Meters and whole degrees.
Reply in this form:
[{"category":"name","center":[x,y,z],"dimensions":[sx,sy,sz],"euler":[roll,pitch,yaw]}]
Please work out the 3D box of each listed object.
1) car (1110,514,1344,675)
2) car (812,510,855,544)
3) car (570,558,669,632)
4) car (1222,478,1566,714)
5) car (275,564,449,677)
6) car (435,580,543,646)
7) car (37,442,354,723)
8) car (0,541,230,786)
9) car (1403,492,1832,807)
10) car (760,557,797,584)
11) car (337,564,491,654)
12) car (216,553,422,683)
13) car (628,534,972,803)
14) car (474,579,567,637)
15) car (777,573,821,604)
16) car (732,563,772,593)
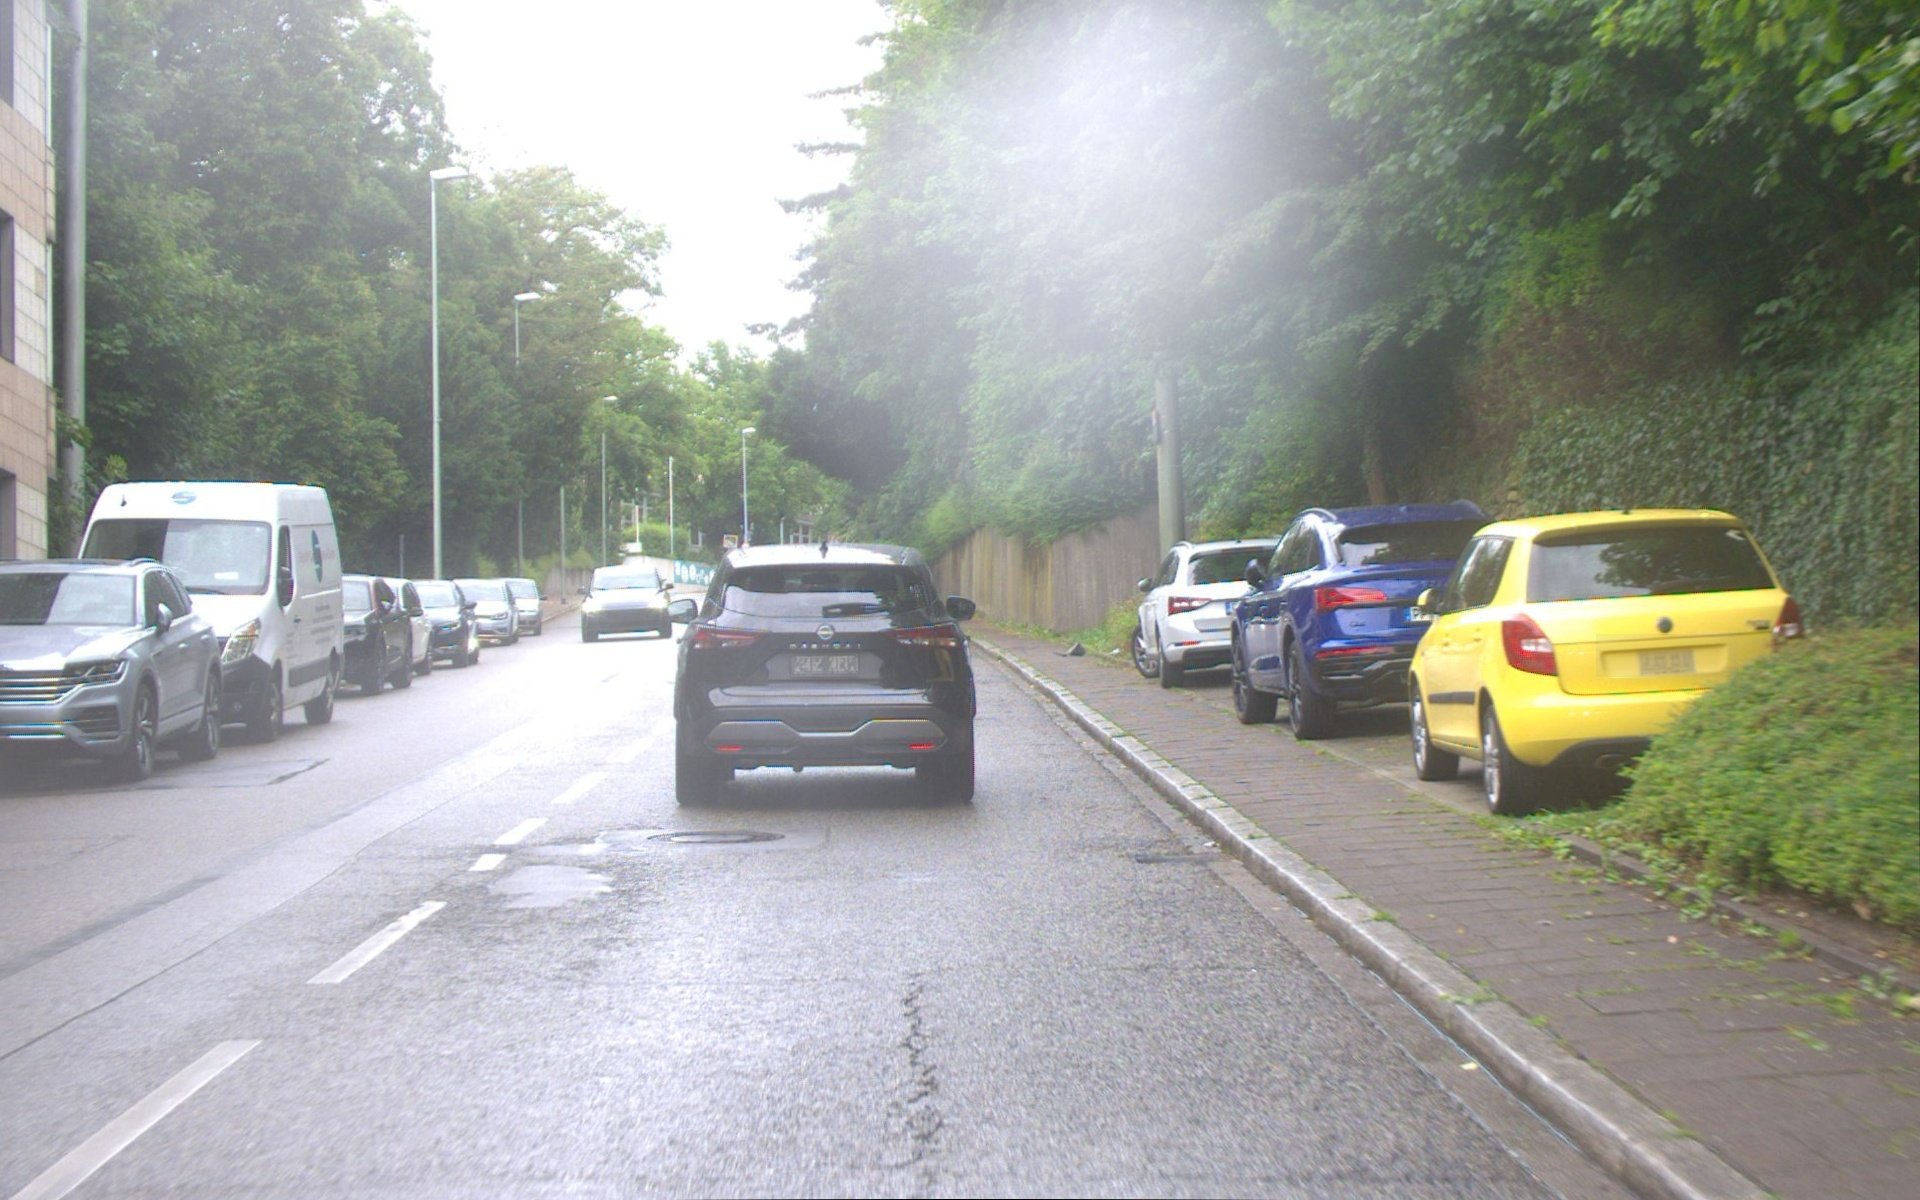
[{"category":"car","center":[2.779,-0.070,36.708],"dimensions":[1.810,1.525,4.418],"euler":[-3,1,-4]},{"category":"car","center":[-6.555,-3.780,178.874],"dimensions":[1.993,1.554,4.000],"euler":[-2,-1,1]},{"category":"car","center":[-7.438,-0.127,75.419],"dimensions":[1.993,1.554,4.001],"euler":[0,1,-3]},{"category":"car","center":[3.150,-0.043,25.808],"dimensions":[1.811,1.525,4.417],"euler":[-3,1,-2]},{"category":"car","center":[-8.963,0.276,51.855],"dimensions":[1.990,1.561,4.458],"euler":[-1,1,-2]},{"category":"car","center":[-10.619,0.273,77.760],"dimensions":[1.990,1.379,4.458],"euler":[-1,1,-2]},{"category":"car","center":[-7.344,-0.198,33.637],"dimensions":[1.990,2.466,5.785],"euler":[-1,1,-2]},{"category":"car","center":[-7.161,0.441,27.135],"dimensions":[1.990,1.749,4.480],"euler":[-1,1,-2]},{"category":"car","center":[3.455,0.221,18.729],"dimensions":[1.633,1.525,4.000],"euler":[0,1,1]},{"category":"car","center":[-10.636,-1.758,201.666],"dimensions":[2.074,1.554,4.000],"euler":[0,1,-2]},{"category":"car","center":[-9.029,0.123,57.158],"dimensions":[1.990,1.379,4.458],"euler":[-1,1,-2]},{"category":"car","center":[-8.286,0.195,44.807],"dimensions":[1.990,1.561,4.458],"euler":[-1,1,-2]},{"category":"car","center":[-0.981,0.363,22.062],"dimensions":[1.993,1.554,4.000],"euler":[0,1,-1]},{"category":"car","center":[-11.382,0.182,89.186],"dimensions":[1.990,1.379,4.458],"euler":[-1,1,-2]},{"category":"car","center":[-8.080,-0.584,172.103],"dimensions":[2.074,1.554,4.001],"euler":[-1,1,-4]},{"category":"car","center":[-11.040,-1.174,182.651],"dimensions":[2.074,1.554,4.000],"euler":[0,1,-3]}]
